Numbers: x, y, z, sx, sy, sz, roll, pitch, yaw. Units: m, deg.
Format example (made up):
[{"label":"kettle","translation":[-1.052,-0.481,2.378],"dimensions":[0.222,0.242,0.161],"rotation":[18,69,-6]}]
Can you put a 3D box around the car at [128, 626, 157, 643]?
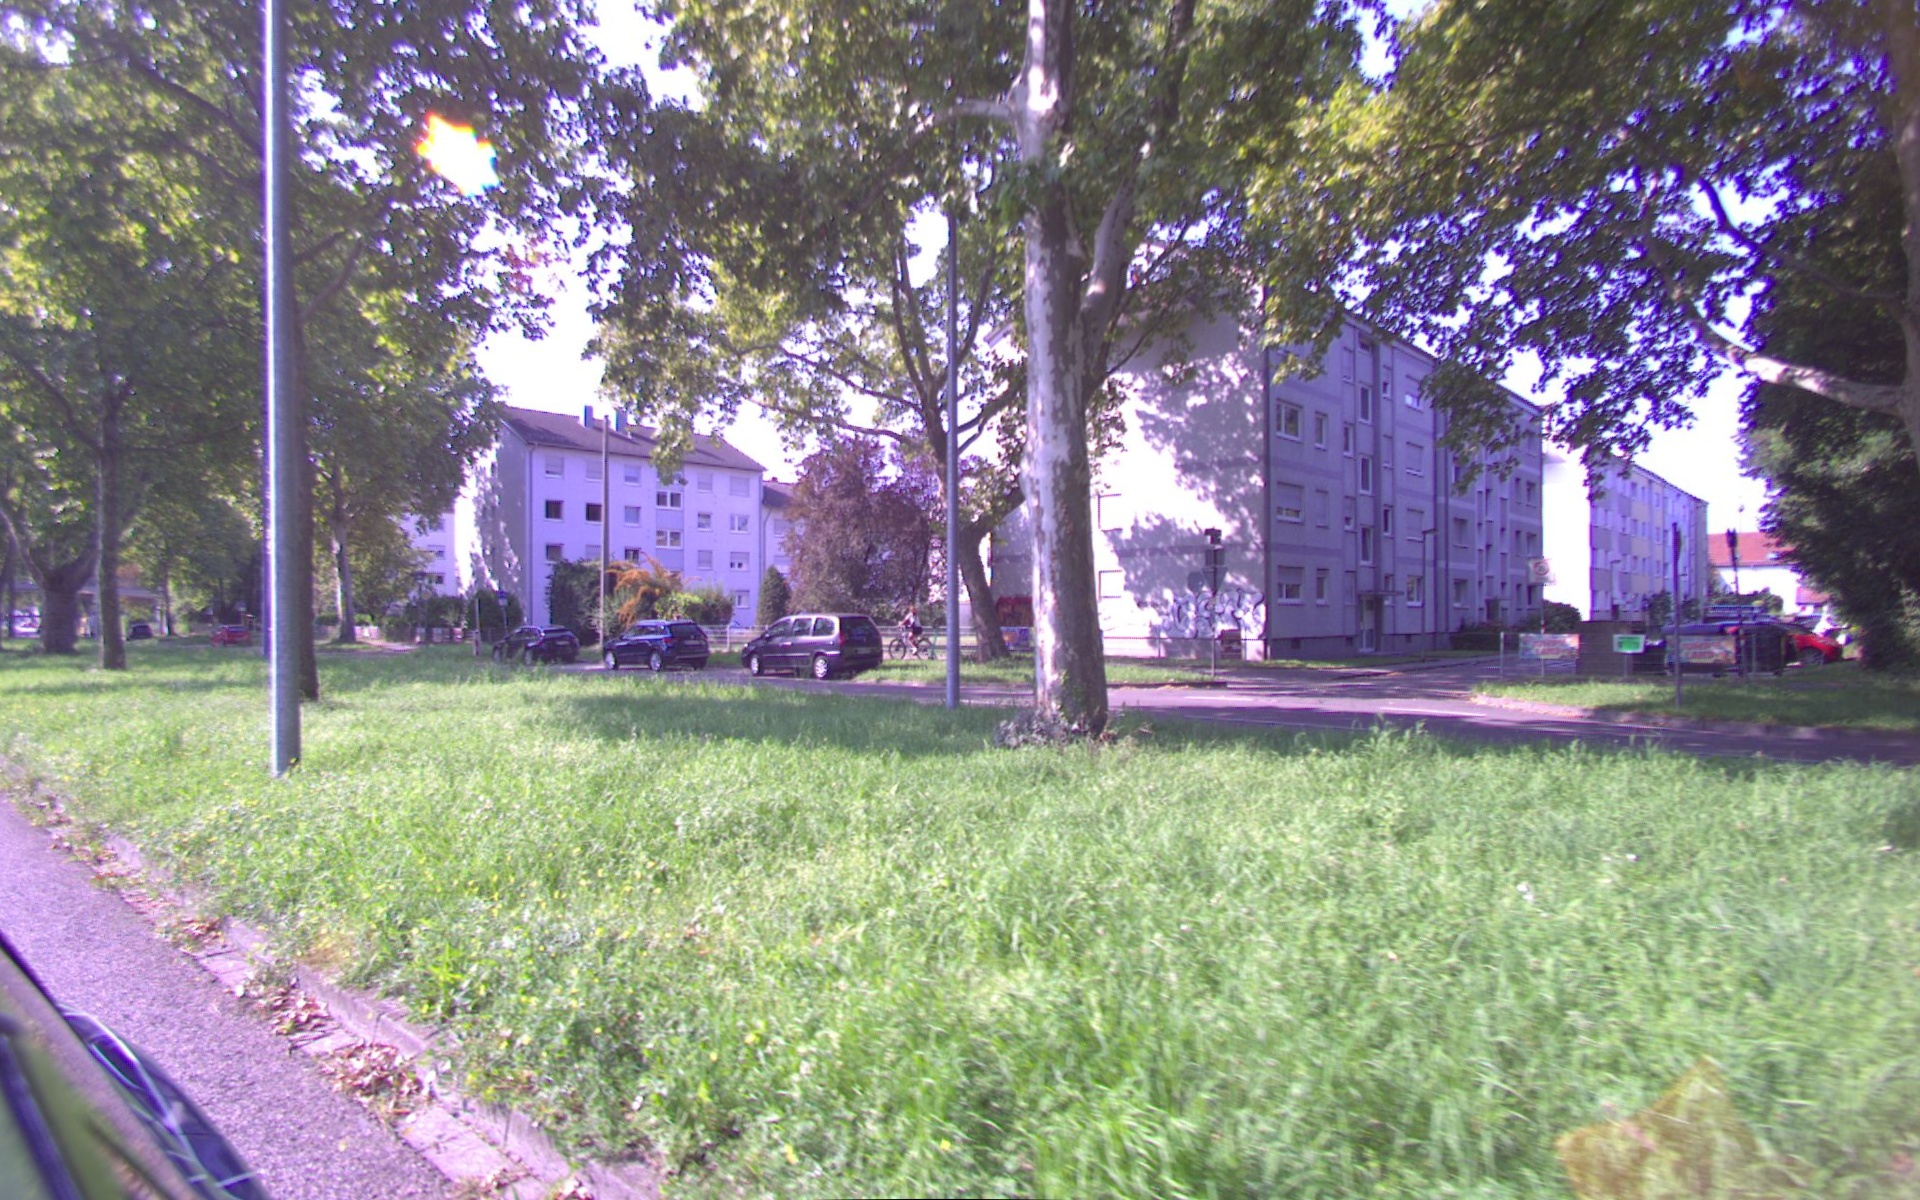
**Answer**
[{"label":"car","translation":[-75.381,3.165,93.326],"dimensions":[3.863,1.544,1.506],"rotation":[-1,-2,42]}]

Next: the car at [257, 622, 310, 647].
[{"label":"car","translation":[-40.689,2.080,60.851],"dimensions":[4.064,1.441,1.782],"rotation":[-2,-1,43]}]

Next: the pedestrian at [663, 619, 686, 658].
[{"label":"pedestrian","translation":[-12.112,1.621,42.886],"dimensions":[0.734,1.658,0.640],"rotation":[-1,-1,40]}]

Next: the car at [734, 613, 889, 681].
[{"label":"car","translation":[-4.199,1.248,28.120],"dimensions":[4.658,1.745,1.681],"rotation":[-1,-1,42]}]

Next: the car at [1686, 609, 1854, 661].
[{"label":"car","translation":[25.889,1.088,32.453],"dimensions":[1.677,1.579,4.004],"rotation":[0,-1,-43]}]

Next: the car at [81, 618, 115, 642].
[{"label":"car","translation":[-94.668,3.297,111.105],"dimensions":[6.268,2.448,2.183],"rotation":[-1,1,45]}]

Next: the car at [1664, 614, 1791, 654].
[{"label":"car","translation":[32.046,1.395,42.322],"dimensions":[1.677,1.579,4.004],"rotation":[0,-1,-43]}]

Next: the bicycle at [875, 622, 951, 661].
[{"label":"bicycle","translation":[-1.533,1.321,32.515],"dimensions":[2.757,1.208,0.539],"rotation":[-1,-1,38]}]

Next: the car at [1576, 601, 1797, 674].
[{"label":"car","translation":[18.708,0.919,26.210],"dimensions":[1.677,1.739,4.392],"rotation":[0,-1,-43]}]

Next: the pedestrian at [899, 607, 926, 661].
[{"label":"pedestrian","translation":[-1.537,1.073,32.525],"dimensions":[0.657,1.703,0.537],"rotation":[-1,-1,38]}]

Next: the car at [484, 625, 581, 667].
[{"label":"car","translation":[-16.524,1.762,38.993],"dimensions":[4.539,1.519,1.681],"rotation":[-2,-2,42]}]

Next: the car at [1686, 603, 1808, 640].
[{"label":"car","translation":[34.598,0.938,44.550],"dimensions":[1.677,1.579,4.004],"rotation":[0,-1,-43]}]

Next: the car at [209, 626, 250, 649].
[{"label":"car","translation":[-49.586,2.523,68.688],"dimensions":[4.064,1.462,1.521],"rotation":[-1,-1,43]}]

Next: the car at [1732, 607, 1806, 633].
[{"label":"car","translation":[57.747,1.412,72.276],"dimensions":[4.001,1.735,1.674],"rotation":[1,1,44]}]

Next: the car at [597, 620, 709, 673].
[{"label":"car","translation":[-9.991,1.462,32.799],"dimensions":[3.999,1.580,1.681],"rotation":[-1,-2,42]}]

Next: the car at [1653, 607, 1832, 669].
[{"label":"car","translation":[23.288,1.092,30.228],"dimensions":[1.677,1.739,4.004],"rotation":[0,-1,-43]}]
